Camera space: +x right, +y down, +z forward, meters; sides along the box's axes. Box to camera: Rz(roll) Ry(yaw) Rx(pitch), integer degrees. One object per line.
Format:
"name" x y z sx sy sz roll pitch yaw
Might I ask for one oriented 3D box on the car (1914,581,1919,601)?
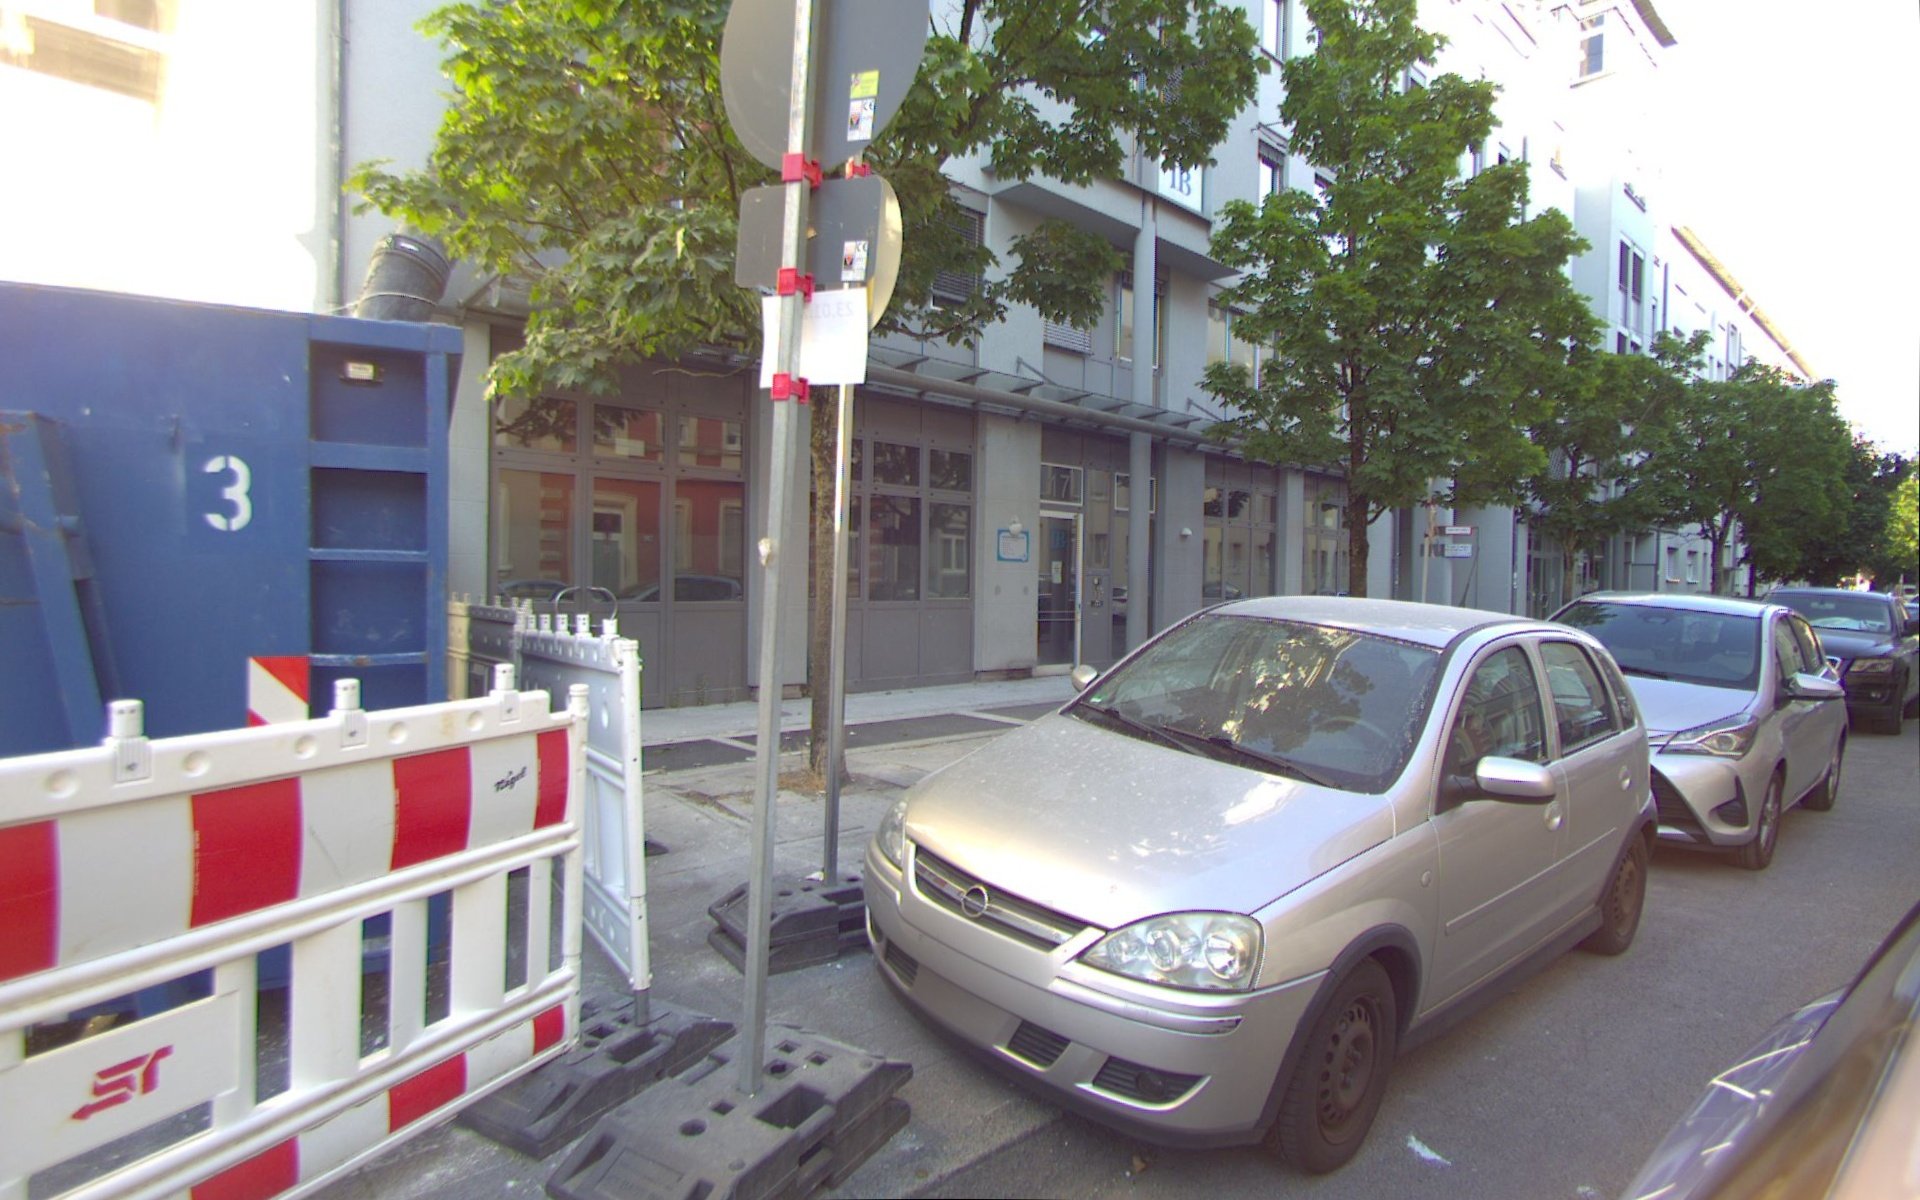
"car" 87.520 -0.729 89.731 4.206 1.792 2.049 4 3 44

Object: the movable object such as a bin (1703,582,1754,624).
"movable object such as a bin" 28.218 0.105 37.163 1.120 1.454 1.263 0 3 -43

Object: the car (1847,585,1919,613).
"car" 59.917 -0.056 65.206 1.968 1.584 3.991 0 4 -44

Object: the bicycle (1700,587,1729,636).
"bicycle" 19.223 0.270 25.809 0.519 1.182 1.718 3 3 36

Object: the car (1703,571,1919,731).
"car" 11.232 0.511 13.013 4.360 1.642 1.888 0 3 -43

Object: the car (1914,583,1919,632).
"car" 34.877 0.284 35.471 4.646 1.655 1.873 -1 3 -45

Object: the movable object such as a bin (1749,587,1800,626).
"movable object such as a bin" 29.272 0.221 36.369 1.120 1.337 1.263 0 3 -43

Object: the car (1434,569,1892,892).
"car" 4.968 0.618 6.941 3.902 1.543 1.679 0 3 -42

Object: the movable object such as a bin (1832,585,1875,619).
"movable object such as a bin" 40.162 0.094 45.497 1.202 1.454 1.286 0 3 -43

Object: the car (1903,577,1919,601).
"car" 96.746 -1.113 101.369 2.147 2.311 6.135 3 3 33

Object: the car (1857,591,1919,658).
"car" 22.943 0.547 24.218 4.272 1.446 1.766 -1 3 -43

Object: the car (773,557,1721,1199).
"car" 1.334 0.646 3.844 3.664 1.493 1.680 0 3 -40
